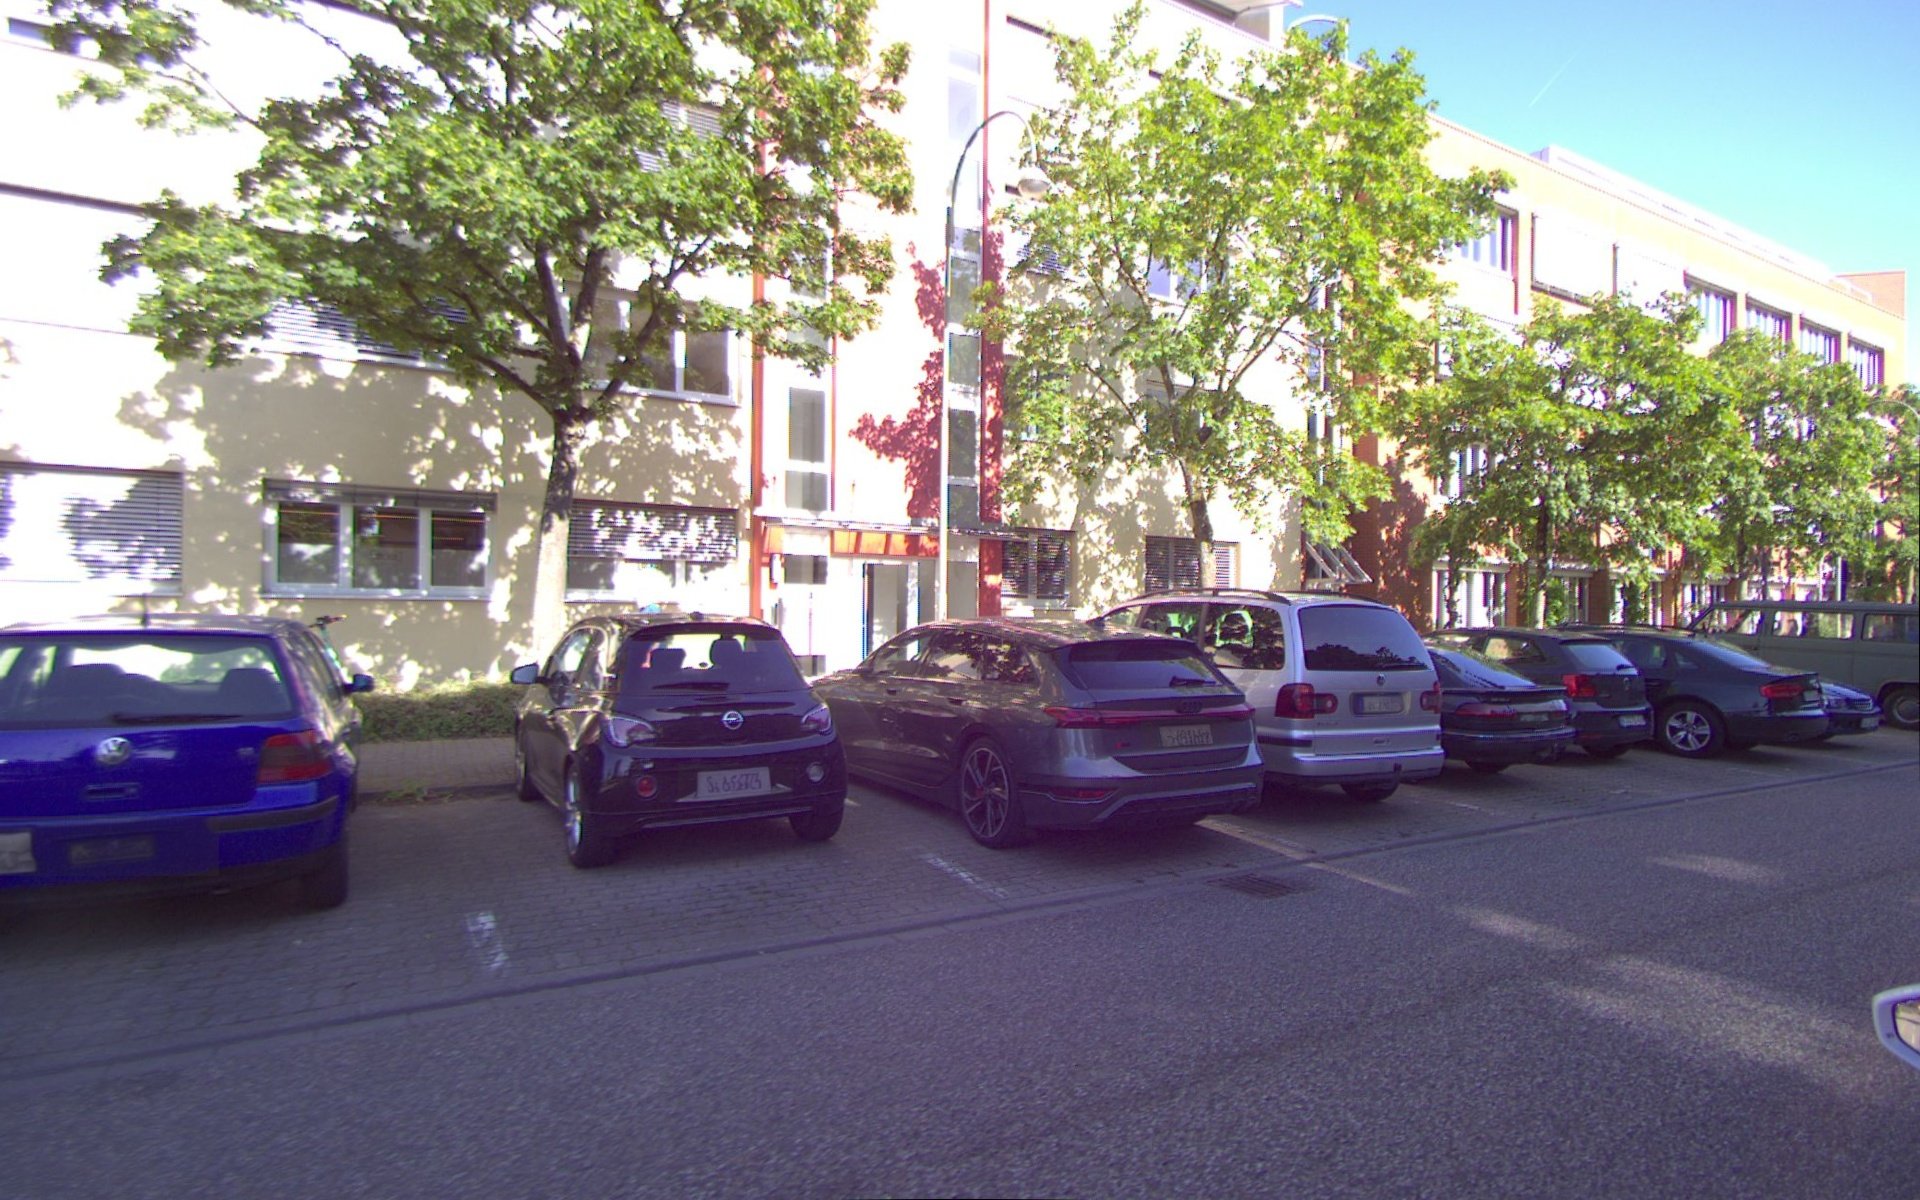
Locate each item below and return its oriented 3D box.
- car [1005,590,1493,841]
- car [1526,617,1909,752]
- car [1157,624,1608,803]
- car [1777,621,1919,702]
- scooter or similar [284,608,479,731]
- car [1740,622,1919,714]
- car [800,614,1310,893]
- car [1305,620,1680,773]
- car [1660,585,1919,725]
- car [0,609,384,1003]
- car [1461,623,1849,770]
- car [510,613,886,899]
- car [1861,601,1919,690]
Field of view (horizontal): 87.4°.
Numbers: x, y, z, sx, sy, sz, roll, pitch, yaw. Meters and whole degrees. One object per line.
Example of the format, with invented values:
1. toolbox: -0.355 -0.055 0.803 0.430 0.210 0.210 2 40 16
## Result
1. car: 2.357 0.805 9.402 1.938 1.740 4.302 1 0 -28
2. car: 10.743 1.089 14.593 1.704 1.548 4.113 1 0 -29
3. car: 4.235 1.020 10.827 1.737 1.376 4.299 1 0 -30
4. car: 19.253 1.234 19.941 1.918 1.497 4.303 1 0 -28
5. scooter or similar: -7.307 0.855 12.776 2.085 1.465 0.651 1 -2 -31
6. car: 17.126 1.227 18.229 1.918 1.497 4.303 1 0 -28
7. car: 0.395 0.901 7.967 1.753 1.446 4.379 1 0 -31
8. car: 6.289 1.032 12.266 1.705 1.446 3.707 1 0 -30
9. car: 14.808 0.834 16.950 2.056 2.118 4.470 1 0 -28
10. car: -4.332 0.821 5.683 1.819 1.446 3.707 1 0 -30
11. car: 8.641 1.085 12.779 1.708 1.446 3.701 1 0 -35
12. car: -2.157 0.873 7.449 1.752 1.446 3.707 1 0 -30
13. car: 23.343 1.075 21.850 1.920 1.993 5.233 1 0 -30
